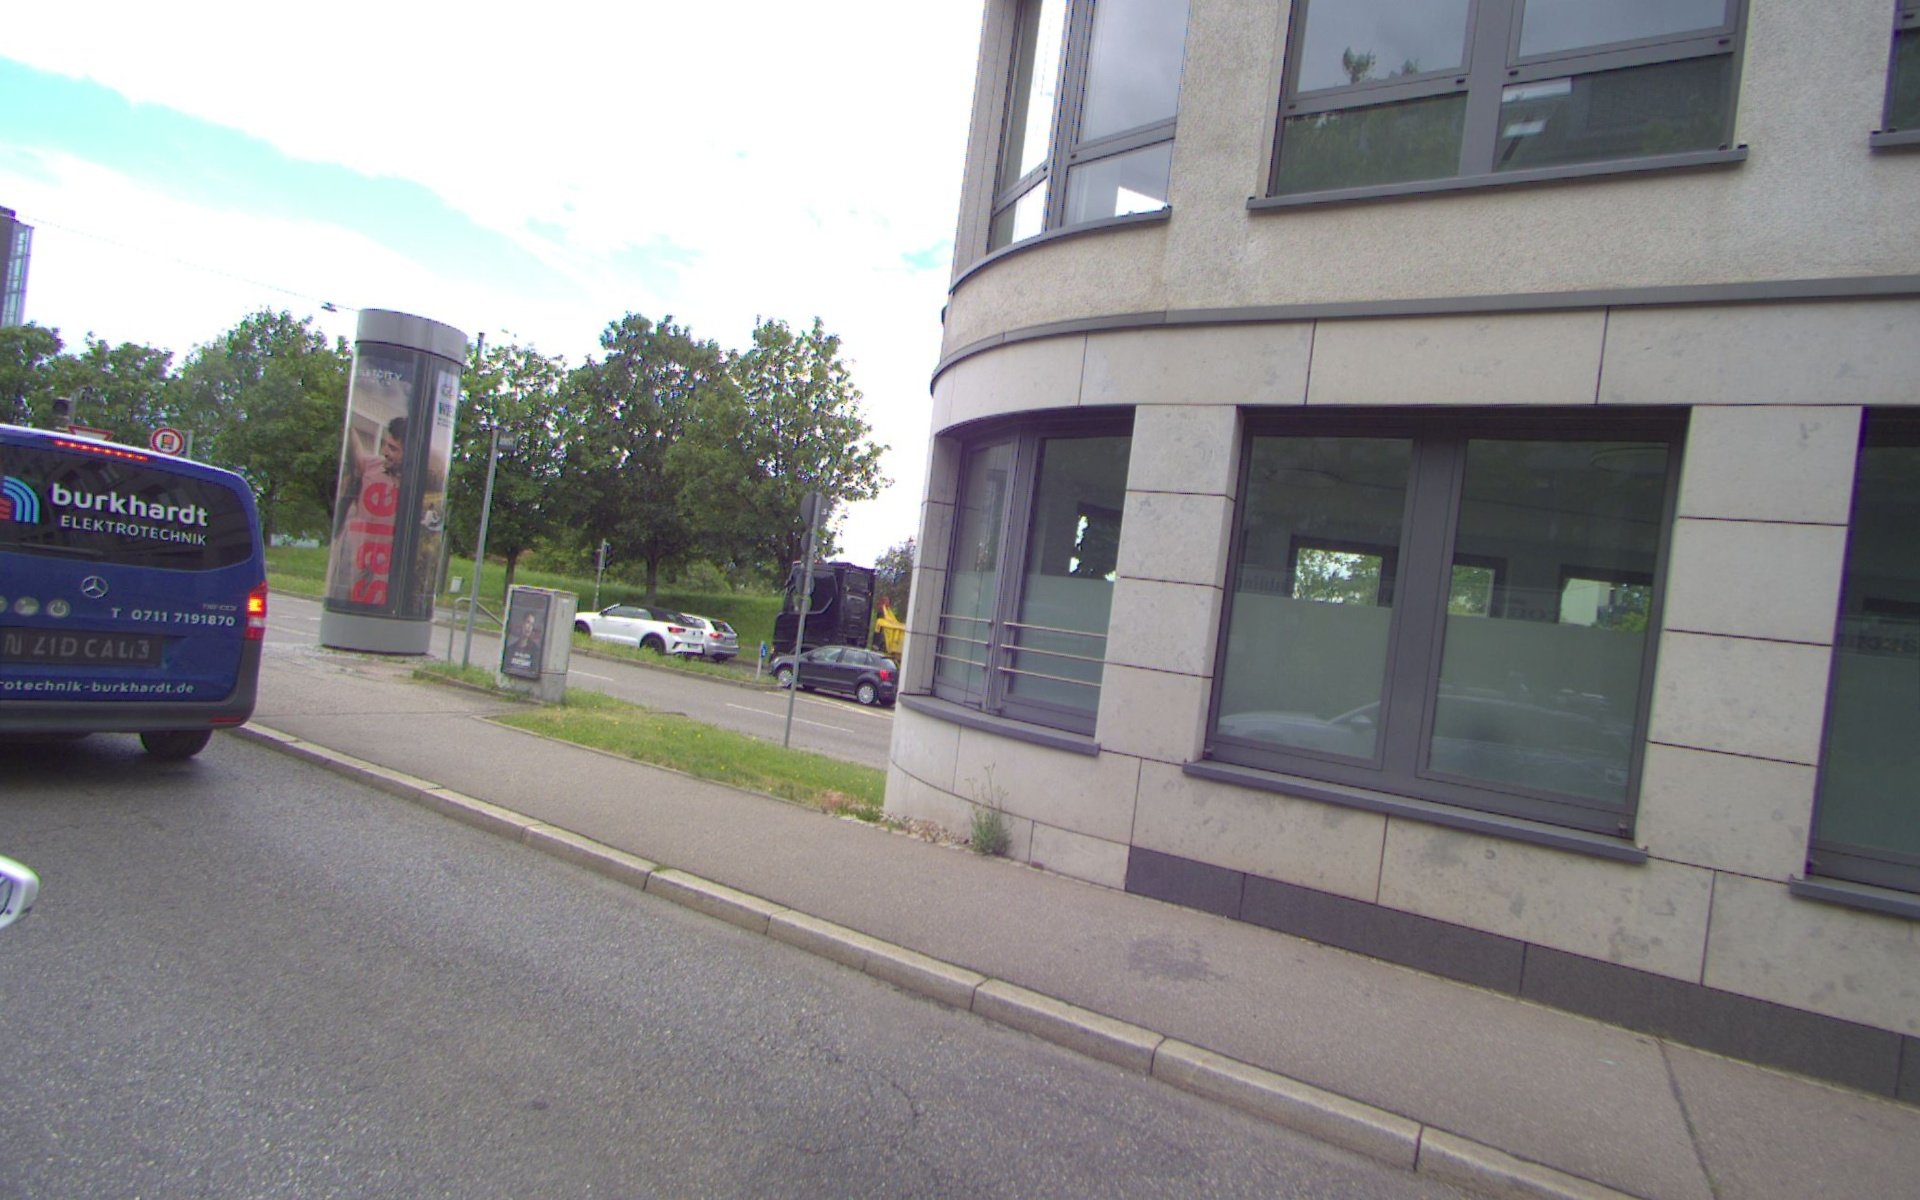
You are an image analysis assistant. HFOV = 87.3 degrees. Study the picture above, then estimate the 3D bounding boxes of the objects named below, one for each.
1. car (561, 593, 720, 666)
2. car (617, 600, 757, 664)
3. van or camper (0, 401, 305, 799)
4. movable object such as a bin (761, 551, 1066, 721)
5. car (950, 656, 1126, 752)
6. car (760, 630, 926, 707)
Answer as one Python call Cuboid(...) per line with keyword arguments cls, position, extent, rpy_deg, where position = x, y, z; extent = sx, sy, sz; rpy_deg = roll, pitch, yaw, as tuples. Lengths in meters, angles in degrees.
Cuboid(cls="car", position=(-9.496, 0.888, 29.979), extent=(3.925, 1.469, 2.003), rpy_deg=(8, -3, 19))
Cuboid(cls="car", position=(-9.104, 1.075, 33.607), extent=(3.925, 1.469, 2.003), rpy_deg=(8, -3, 19))
Cuboid(cls="van or camper", position=(-6.580, -0.200, 6.512), extent=(4.949, 1.934, 1.862), rpy_deg=(7, -1, 32))
Cuboid(cls="movable object such as a bin", position=(-1.396, 1.045, 30.568), extent=(8.410, 3.949, 2.870), rpy_deg=(7, -1, 18))
Cuboid(cls="car", position=(2.018, 2.624, 25.716), extent=(3.925, 1.723, 2.003), rpy_deg=(8, -3, 19))
Cuboid(cls="car", position=(-3.198, 1.905, 27.738), extent=(3.925, 1.469, 2.003), rpy_deg=(8, -3, 19))
